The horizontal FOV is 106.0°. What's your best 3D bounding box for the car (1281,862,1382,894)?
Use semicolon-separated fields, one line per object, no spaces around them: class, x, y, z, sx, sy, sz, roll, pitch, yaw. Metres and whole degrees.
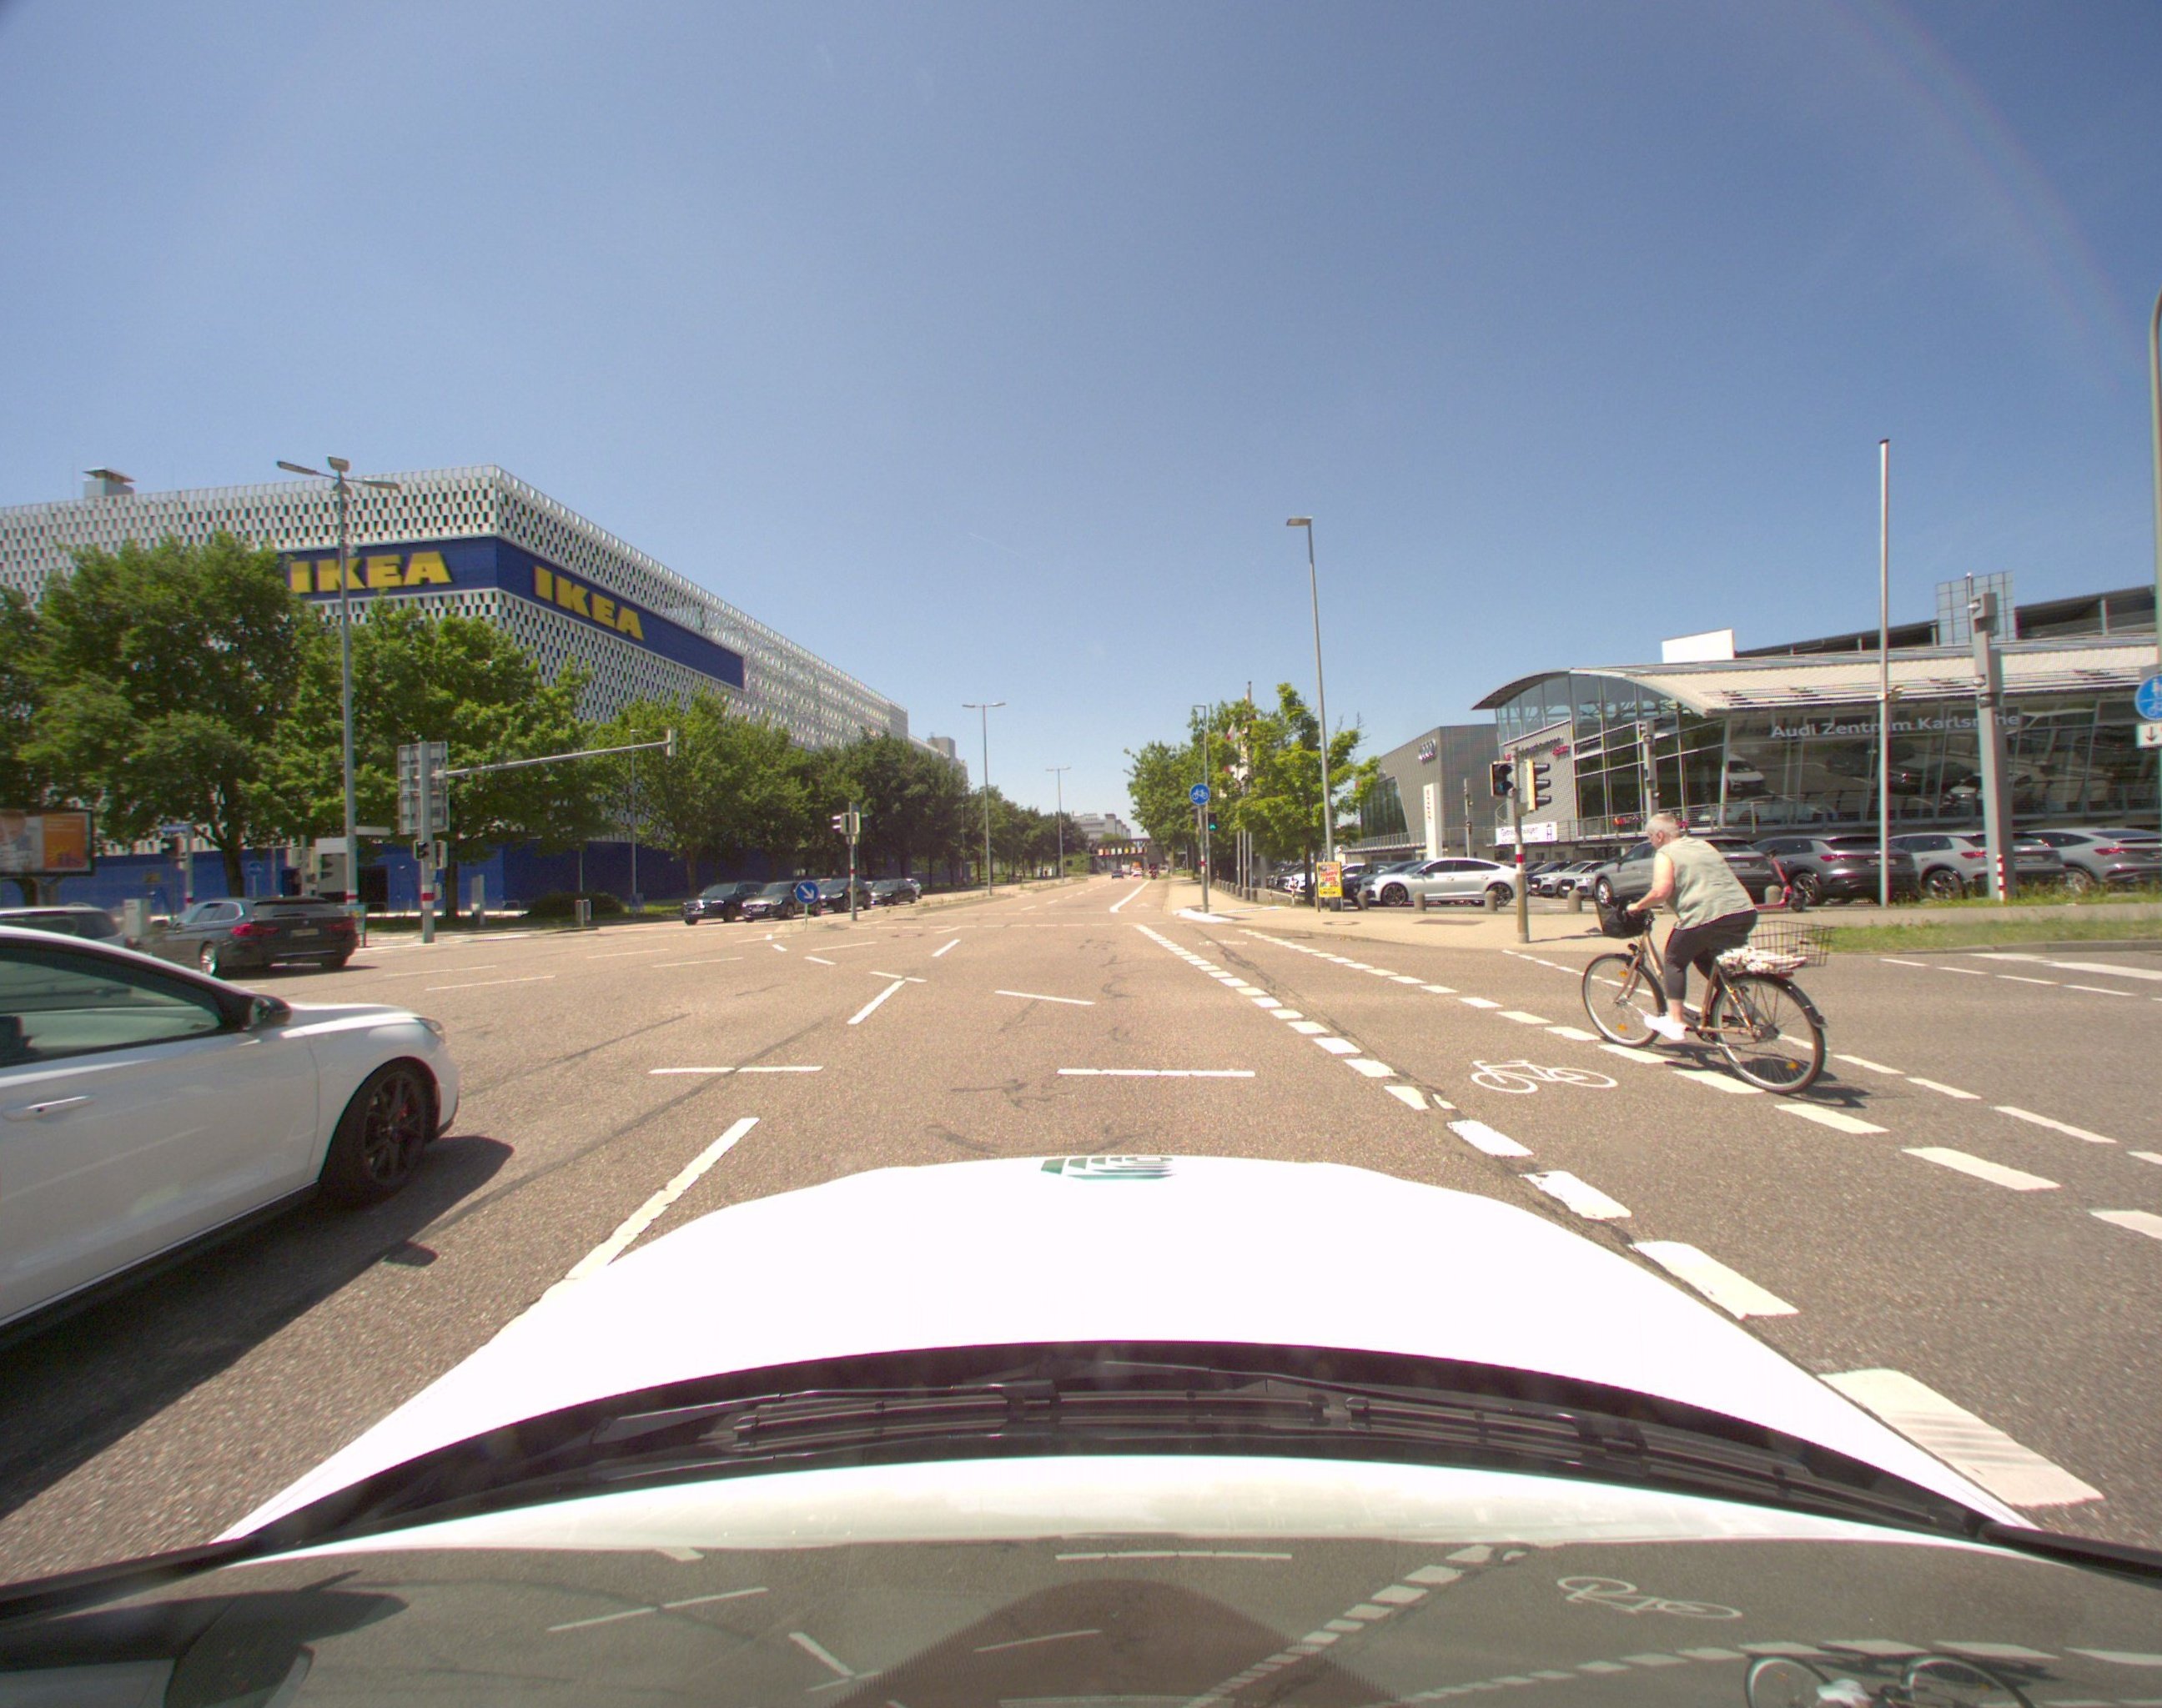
car;11.210;1.067;36.727;4.079;1.349;1.872;0;-1;5

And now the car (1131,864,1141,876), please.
car;13.783;3.925;203.709;2.063;2.855;6.774;-2;-1;5

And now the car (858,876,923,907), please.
car;-10.200;1.972;43.950;1.716;1.446;4.730;-4;-2;8

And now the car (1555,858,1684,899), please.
car;21.640;0.969;32.870;3.965;1.598;1.853;0;-1;5

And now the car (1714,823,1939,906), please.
car;16.535;0.241;18.379;1.833;1.654;4.008;0;-1;9

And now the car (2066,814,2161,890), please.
car;24.401;-0.066;17.556;1.622;1.654;3.912;-1;-1;2

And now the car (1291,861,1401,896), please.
car;10.924;0.999;33.803;4.075;1.364;1.877;0;-1;5

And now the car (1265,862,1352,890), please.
car;11.744;1.111;42.259;4.080;1.405;1.872;0;-1;5

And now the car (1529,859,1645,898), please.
car;21.948;1.039;35.429;3.965;1.622;1.659;0;-1;5

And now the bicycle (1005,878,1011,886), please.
bicycle;-10.132;3.870;112.896;0.635;1.134;1.971;-2;-1;2

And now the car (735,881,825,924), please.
car;-11.431;1.802;31.185;1.635;1.389;3.722;-4;-2;6

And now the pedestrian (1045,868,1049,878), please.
pedestrian;-6.709;3.748;160.824;0.740;1.884;0.578;-2;-1;6

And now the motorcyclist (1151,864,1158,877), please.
motorcyclist;8.730;1.945;96.597;0.718;1.529;0.869;-1;-1;-4

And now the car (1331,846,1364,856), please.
car;35.826;-0.437;109.558;3.925;1.211;1.718;-1;-1;1

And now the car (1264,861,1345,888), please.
car;12.353;1.136;45.199;4.080;1.453;1.872;0;-1;5

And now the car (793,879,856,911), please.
car;-13.524;2.123;43.174;1.718;1.544;3.921;-3;-2;6

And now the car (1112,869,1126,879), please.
car;5.968;3.112;126.666;1.891;1.376;4.237;-2;-1;5

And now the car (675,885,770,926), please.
car;-14.306;2.028;32.772;1.652;1.424;4.044;-3;-2;6

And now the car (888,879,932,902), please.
car;-12.103;2.574;57.810;1.718;1.446;4.458;-4;-2;5

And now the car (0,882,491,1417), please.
car;-3.913;0.858;2.339;1.786;1.436;4.061;-1;-1;-6

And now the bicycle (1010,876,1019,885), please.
bicycle;-9.088;3.629;110.909;0.736;1.125;2.438;-2;-1;5

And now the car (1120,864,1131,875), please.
car;8.670;3.089;158.356;1.984;2.014;4.005;-2;-1;5

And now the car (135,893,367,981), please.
car;-16.189;1.613;15.861;4.499;1.441;1.814;-4;-2;26

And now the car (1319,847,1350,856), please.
car;36.262;-0.359;116.580;3.972;1.312;1.798;0;-1;1

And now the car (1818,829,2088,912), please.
car;19.243;0.364;18.279;1.837;1.654;4.000;0;-1;2

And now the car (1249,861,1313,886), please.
car;12.285;1.190;50.198;3.663;1.453;1.837;0;-1;5

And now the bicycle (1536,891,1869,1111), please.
bicycle;4.014;0.859;5.504;0.627;1.133;1.890;-2;-1;-7

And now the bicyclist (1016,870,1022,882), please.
bicyclist;-9.051;3.208;119.723;0.631;1.629;1.046;-4;-2;5

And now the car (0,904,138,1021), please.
car;-15.539;1.529;11.803;3.957;1.422;1.708;-3;0;30

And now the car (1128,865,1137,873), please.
car;11.931;3.476;187.995;1.886;1.816;4.006;-2;-1;5

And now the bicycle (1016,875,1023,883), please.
bicycle;-9.015;3.662;119.767;0.626;1.159;2.120;-4;-1;5

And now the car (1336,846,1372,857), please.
car;34.914;-0.274;104.214;3.972;1.312;1.798;0;-1;1

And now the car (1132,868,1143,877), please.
car;10.010;3.287;144.658;1.915;1.420;4.005;-2;-1;5

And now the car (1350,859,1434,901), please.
car;11.304;0.908;29.923;1.852;1.420;4.672;0;-1;8

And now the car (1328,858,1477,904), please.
car;10.168;0.853;25.987;4.075;1.390;1.872;0;-1;5

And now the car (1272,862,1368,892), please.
car;11.452;1.110;39.290;4.205;1.390;1.872;0;-1;5

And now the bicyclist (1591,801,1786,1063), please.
bicyclist;4.015;0.478;5.443;0.627;1.606;0.823;0;-1;-7

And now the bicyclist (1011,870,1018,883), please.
bicyclist;-9.111;3.073;110.887;0.741;1.686;0.953;-2;-1;5

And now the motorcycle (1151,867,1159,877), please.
motorcycle;8.747;2.161;96.561;0.715;1.105;1.827;-1;-1;-4

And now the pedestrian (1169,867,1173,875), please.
pedestrian;15.149;2.896;137.771;0.621;1.374;0.565;-2;-1;4

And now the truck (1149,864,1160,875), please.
truck;16.756;3.540;185.452;2.446;2.410;7.145;0;-1;6

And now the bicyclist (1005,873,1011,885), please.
bicyclist;-10.147;3.434;112.780;0.634;1.582;0.885;-2;-1;3

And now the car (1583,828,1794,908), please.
car;13.821;0.367;18.933;1.858;1.558;4.511;-3;-2;7

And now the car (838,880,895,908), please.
car;-12.875;2.370;49.213;1.738;1.422;4.629;-4;-1;5

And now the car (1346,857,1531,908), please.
car;10.149;0.792;23.431;4.567;1.390;1.873;0;-1;7

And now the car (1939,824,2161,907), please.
car;21.602;0.206;17.858;1.630;1.616;3.819;-1;0;2

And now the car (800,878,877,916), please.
car;-10.989;1.905;37.209;1.717;1.505;4.250;-4;-2;6

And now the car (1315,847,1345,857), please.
car;36.663;-0.338;120.004;3.972;1.312;1.798;-2;-1;1
